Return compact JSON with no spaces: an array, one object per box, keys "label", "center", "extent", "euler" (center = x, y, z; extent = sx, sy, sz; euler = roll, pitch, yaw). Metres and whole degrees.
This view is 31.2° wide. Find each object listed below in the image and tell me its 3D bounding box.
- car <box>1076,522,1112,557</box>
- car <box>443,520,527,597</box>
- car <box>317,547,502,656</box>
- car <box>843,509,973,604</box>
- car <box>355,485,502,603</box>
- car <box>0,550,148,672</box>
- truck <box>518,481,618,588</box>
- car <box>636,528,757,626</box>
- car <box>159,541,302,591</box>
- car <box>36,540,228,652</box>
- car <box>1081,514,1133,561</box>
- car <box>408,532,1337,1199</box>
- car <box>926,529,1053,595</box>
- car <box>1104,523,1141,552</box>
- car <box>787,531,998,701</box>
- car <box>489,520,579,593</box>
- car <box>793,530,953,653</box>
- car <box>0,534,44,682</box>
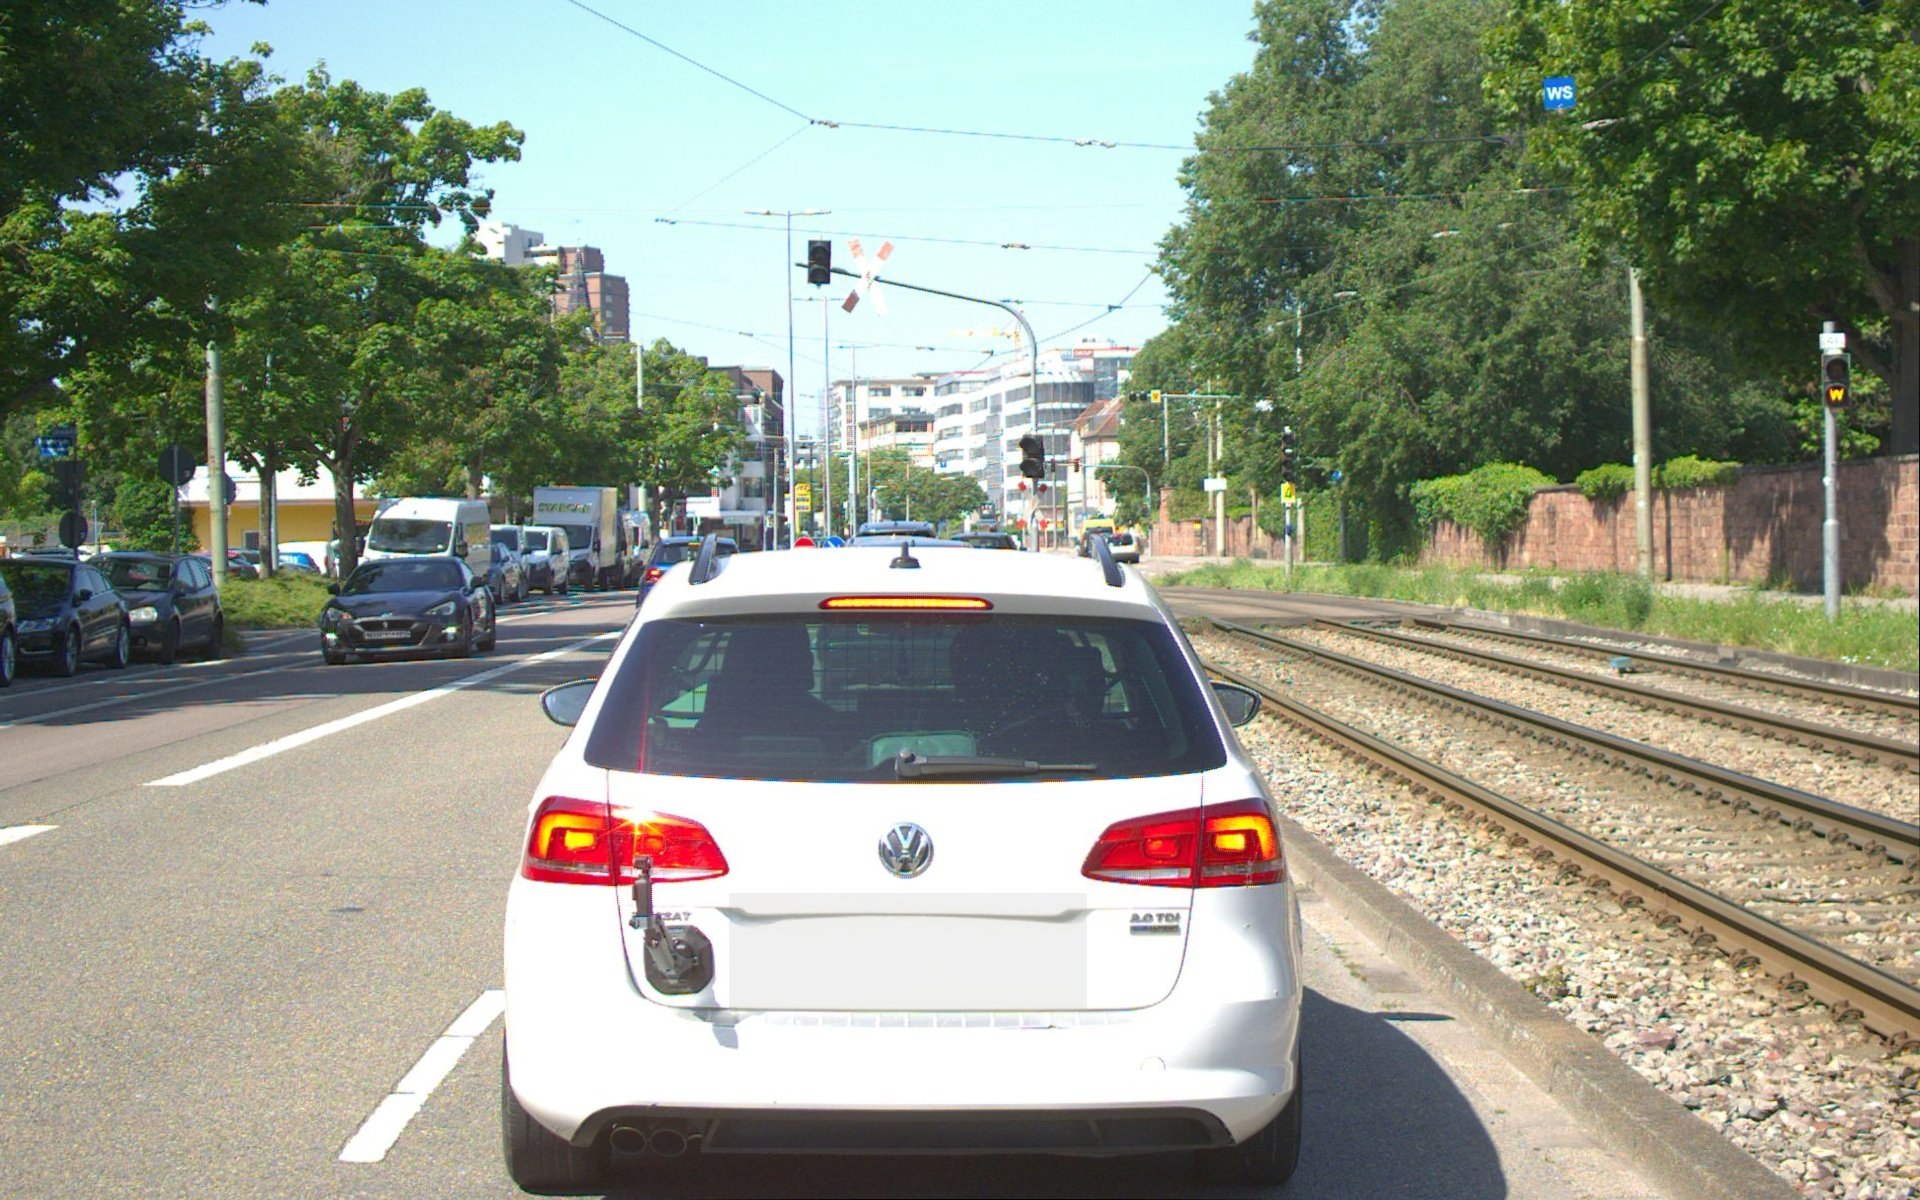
[{"label":"car","center":[6.985,-3.153,179.470],"extent":[1.691,1.806,3.454],"euler":[1,0,-1]},{"label":"car","center":[-12.515,-1.126,90.839],"extent":[1.843,1.930,5.195],"euler":[-1,1,-4]},{"label":"car","center":[-6.819,-0.013,42.932],"extent":[1.687,1.240,4.065],"euler":[-1,1,-1]},{"label":"car","center":[-0.842,-0.753,58.043],"extent":[1.861,1.508,3.913],"euler":[1,1,3]},{"label":"car","center":[-11.893,-1.283,77.353],"extent":[2.059,2.492,6.307],"euler":[2,1,2]},{"label":"car","center":[-11.441,0.100,42.553],"extent":[1.690,1.375,4.783],"euler":[-1,1,-1]},{"label":"truck","center":[-11.978,-2.015,105.406],"extent":[2.356,3.112,6.892],"euler":[-1,1,-1]},{"label":"car","center":[-4.017,-0.381,52.618],"extent":[1.745,1.403,3.914],"euler":[1,1,-4]},{"label":"car","center":[-22.505,-1.048,106.118],"extent":[3.987,1.439,1.771],"euler":[-1,1,2]},{"label":"car","center":[-11.374,-0.085,47.482],"extent":[1.641,1.445,4.004],"euler":[1,1,0]},{"label":"car","center":[8.015,-3.382,188.046],"extent":[2.463,2.490,5.910],"euler":[1,0,-1]},{"label":"car","center":[-0.217,0.573,8.583],"extent":[1.768,1.441,3.913],"euler":[1,1,-1]},{"label":"car","center":[0.695,-0.866,77.521],"extent":[1.747,1.403,3.910],"euler":[1,1,18]},{"label":"car","center":[7.811,-2.996,165.338],"extent":[1.581,1.341,3.454],"euler":[1,0,-1]},{"label":"car","center":[-0.593,0.095,30.703],"extent":[1.746,1.383,3.913],"euler":[1,1,-1]},{"label":"car","center":[-11.906,-1.251,96.390],"extent":[1.843,1.954,5.134],"euler":[-1,1,0]},{"label":"car","center":[-1.061,-0.148,42.747],"extent":[1.861,1.412,4.325],"euler":[1,1,-1]},{"label":"car","center":[-11.283,0.109,36.692],"extent":[1.762,1.600,4.894],"euler":[0,1,-1]}]
